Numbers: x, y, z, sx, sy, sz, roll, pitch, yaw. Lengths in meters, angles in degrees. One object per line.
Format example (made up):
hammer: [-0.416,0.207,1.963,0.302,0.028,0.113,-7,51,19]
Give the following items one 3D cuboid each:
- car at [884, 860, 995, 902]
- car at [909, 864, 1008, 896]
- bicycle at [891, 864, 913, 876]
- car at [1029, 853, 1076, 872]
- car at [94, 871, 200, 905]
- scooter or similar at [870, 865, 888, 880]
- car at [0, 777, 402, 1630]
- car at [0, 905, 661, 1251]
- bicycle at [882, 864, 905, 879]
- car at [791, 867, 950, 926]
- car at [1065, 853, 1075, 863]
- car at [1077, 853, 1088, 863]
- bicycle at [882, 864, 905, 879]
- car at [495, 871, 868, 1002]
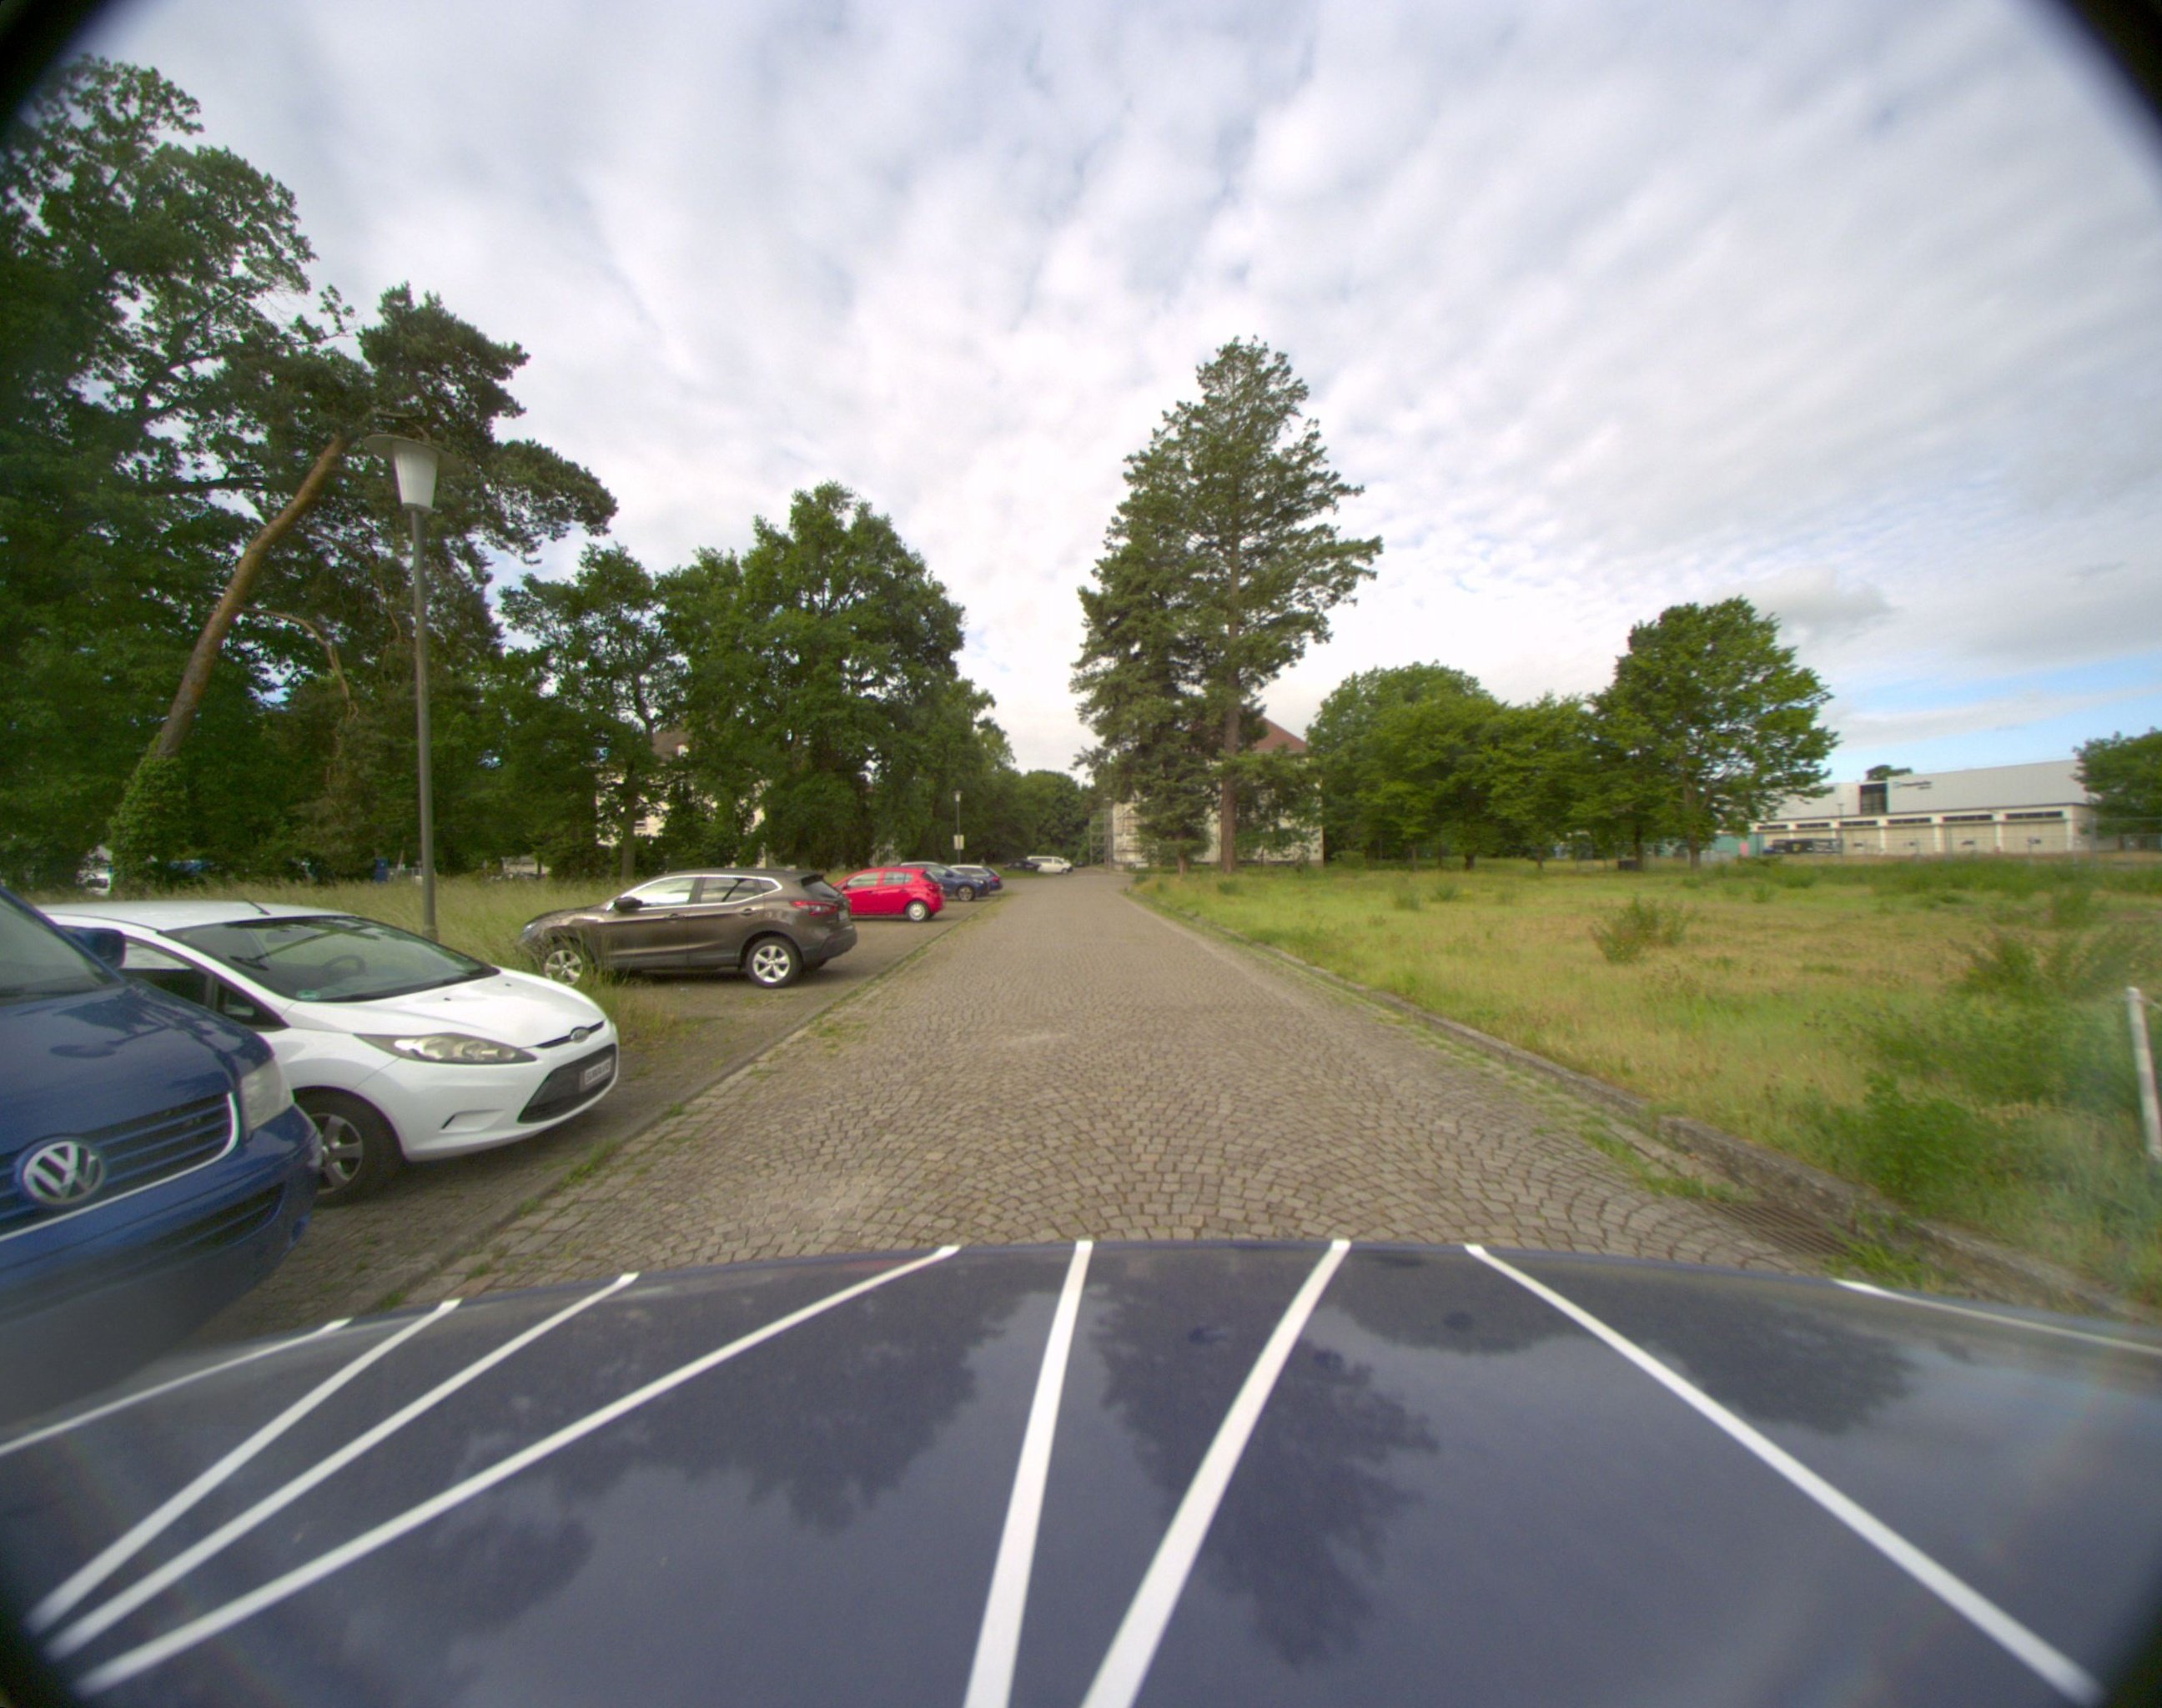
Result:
car: [-5.744,1.096,31.338,4.257,1.613,1.886,-1,0,-3]
car: [-5.760,1.230,36.080,4.368,1.430,1.926,-1,0,0]
bicycle: [-16.261,1.454,69.081,1.860,1.163,0.488,0,0,-11]
car: [-3.218,0.963,84.971,5.150,2.002,1.999,-1,0,-2]
car: [-70.012,2.491,57.086,1.923,2.290,4.939,-1,0,-1]
scooter or similar: [-16.920,1.576,63.712,1.308,1.163,0.413,-3,1,-3]
car: [-4.939,0.836,1.760,4.809,1.992,1.966,0,0,-3]
car: [-4.986,1.108,4.387,4.109,1.470,1.721,0,0,-5]
bicycle: [-16.069,1.503,65.085,1.862,1.163,0.487,-2,0,-27]
car: [-5.713,1.136,21.033,3.934,1.488,1.784,-1,0,-3]
car: [-2.215,0.842,151.193,1.963,2.002,4.259,-1,0,-3]
car: [0.314,0.779,151.509,1.963,2.002,4.259,-1,0,-3]
bicycle: [-16.216,1.506,65.793,1.861,1.163,0.487,-2,0,-23]
car: [-5.370,1.066,10.734,4.215,1.585,1.952,0,0,-4]
